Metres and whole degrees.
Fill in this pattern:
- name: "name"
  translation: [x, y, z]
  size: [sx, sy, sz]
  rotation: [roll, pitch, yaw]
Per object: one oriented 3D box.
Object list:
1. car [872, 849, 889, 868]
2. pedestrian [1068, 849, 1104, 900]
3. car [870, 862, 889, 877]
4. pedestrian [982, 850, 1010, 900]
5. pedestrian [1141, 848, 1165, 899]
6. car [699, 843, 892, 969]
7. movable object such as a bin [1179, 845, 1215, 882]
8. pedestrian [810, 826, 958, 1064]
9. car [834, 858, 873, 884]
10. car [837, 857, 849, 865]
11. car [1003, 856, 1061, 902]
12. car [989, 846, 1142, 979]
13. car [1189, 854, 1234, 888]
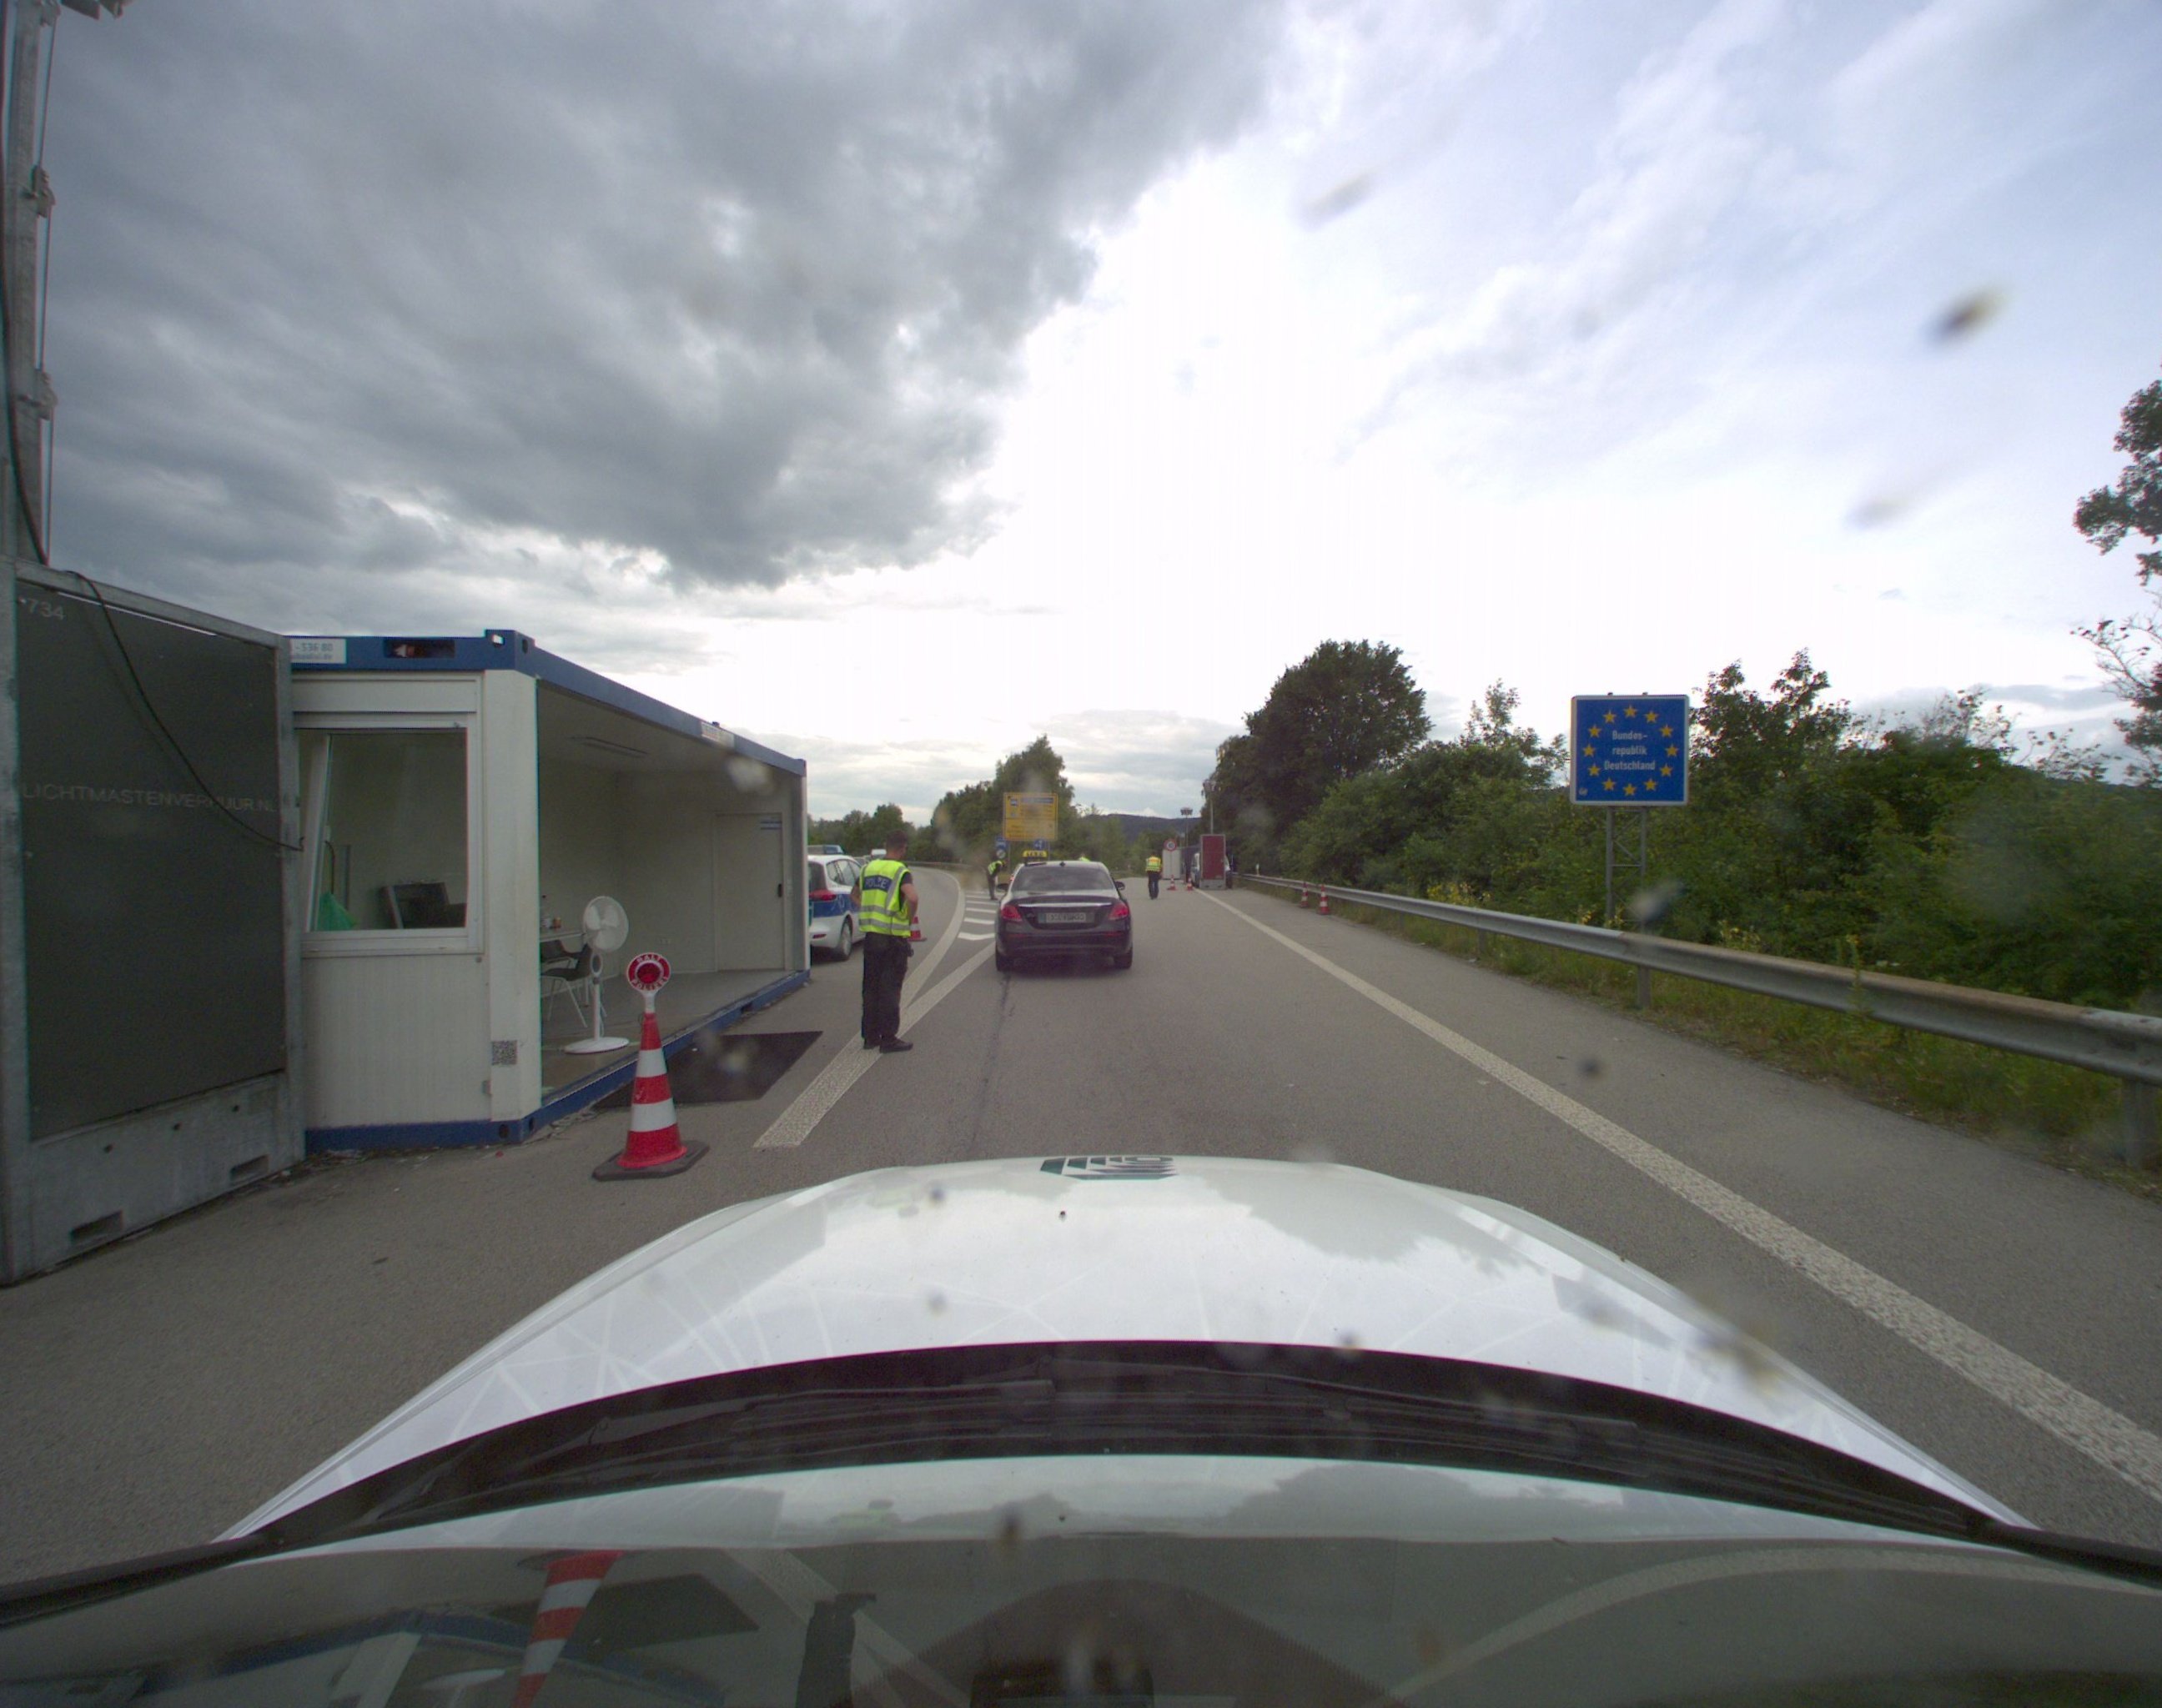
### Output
- name: "car"
  translation: [-23.281, 0.522, 94.582]
  size: [1.858, 2.222, 4.236]
  rotation: [-1, 0, -14]
- name: "pedestrian"
  translation: [0.177, 0.699, 28.304]
  size: [0.914, 1.698, 0.905]
  rotation: [0, -1, -30]
- name: "car"
  translation: [-20.417, 1.594, 82.600]
  size: [1.853, 1.463, 3.982]
  rotation: [0, -1, -13]
- name: "pedestrian"
  translation: [-3.048, 0.735, 29.335]
  size: [0.908, 1.769, 0.911]
  rotation: [-1, 0, -1]
- name: "pedestrian"
  translation: [2.666, 0.712, 30.078]
  size: [0.809, 1.830, 0.810]
  rotation: [-1, -1, 2]
- name: "car"
  translation: [-4.506, 0.742, 13.554]
  size: [1.864, 1.743, 4.005]
  rotation: [-1, 0, -2]
- name: "movable object such as a bin"
  translation: [7.477, 0.592, 52.776]
  size: [1.984, 2.280, 4.173]
  rotation: [-1, 0, 4]
- name: "pedestrian"
  translation: [-1.556, 0.660, 6.445]
  size: [0.752, 1.718, 0.823]
  rotation: [-2, -1, 39]
- name: "car"
  translation: [-13.883, 1.021, 49.937]
  size: [1.856, 1.498, 4.241]
  rotation: [-1, 0, -10]
- name: "car"
  translation: [-44.961, 1.249, 153.795]
  size: [1.860, 1.463, 3.969]
  rotation: [0, -1, -23]
- name: "car"
  translation: [-1.672, 0.825, 29.172]
  size: [1.850, 1.498, 4.255]
  rotation: [-1, 0, -1]
- name: "car"
  translation: [-0.318, 0.723, 12.175]
  size: [1.851, 1.595, 4.369]
  rotation: [-1, 0, -4]
- name: "car"
  translation: [6.982, 0.867, 43.937]
  size: [1.908, 1.678, 5.088]
  rotation: [1, 0, 4]
